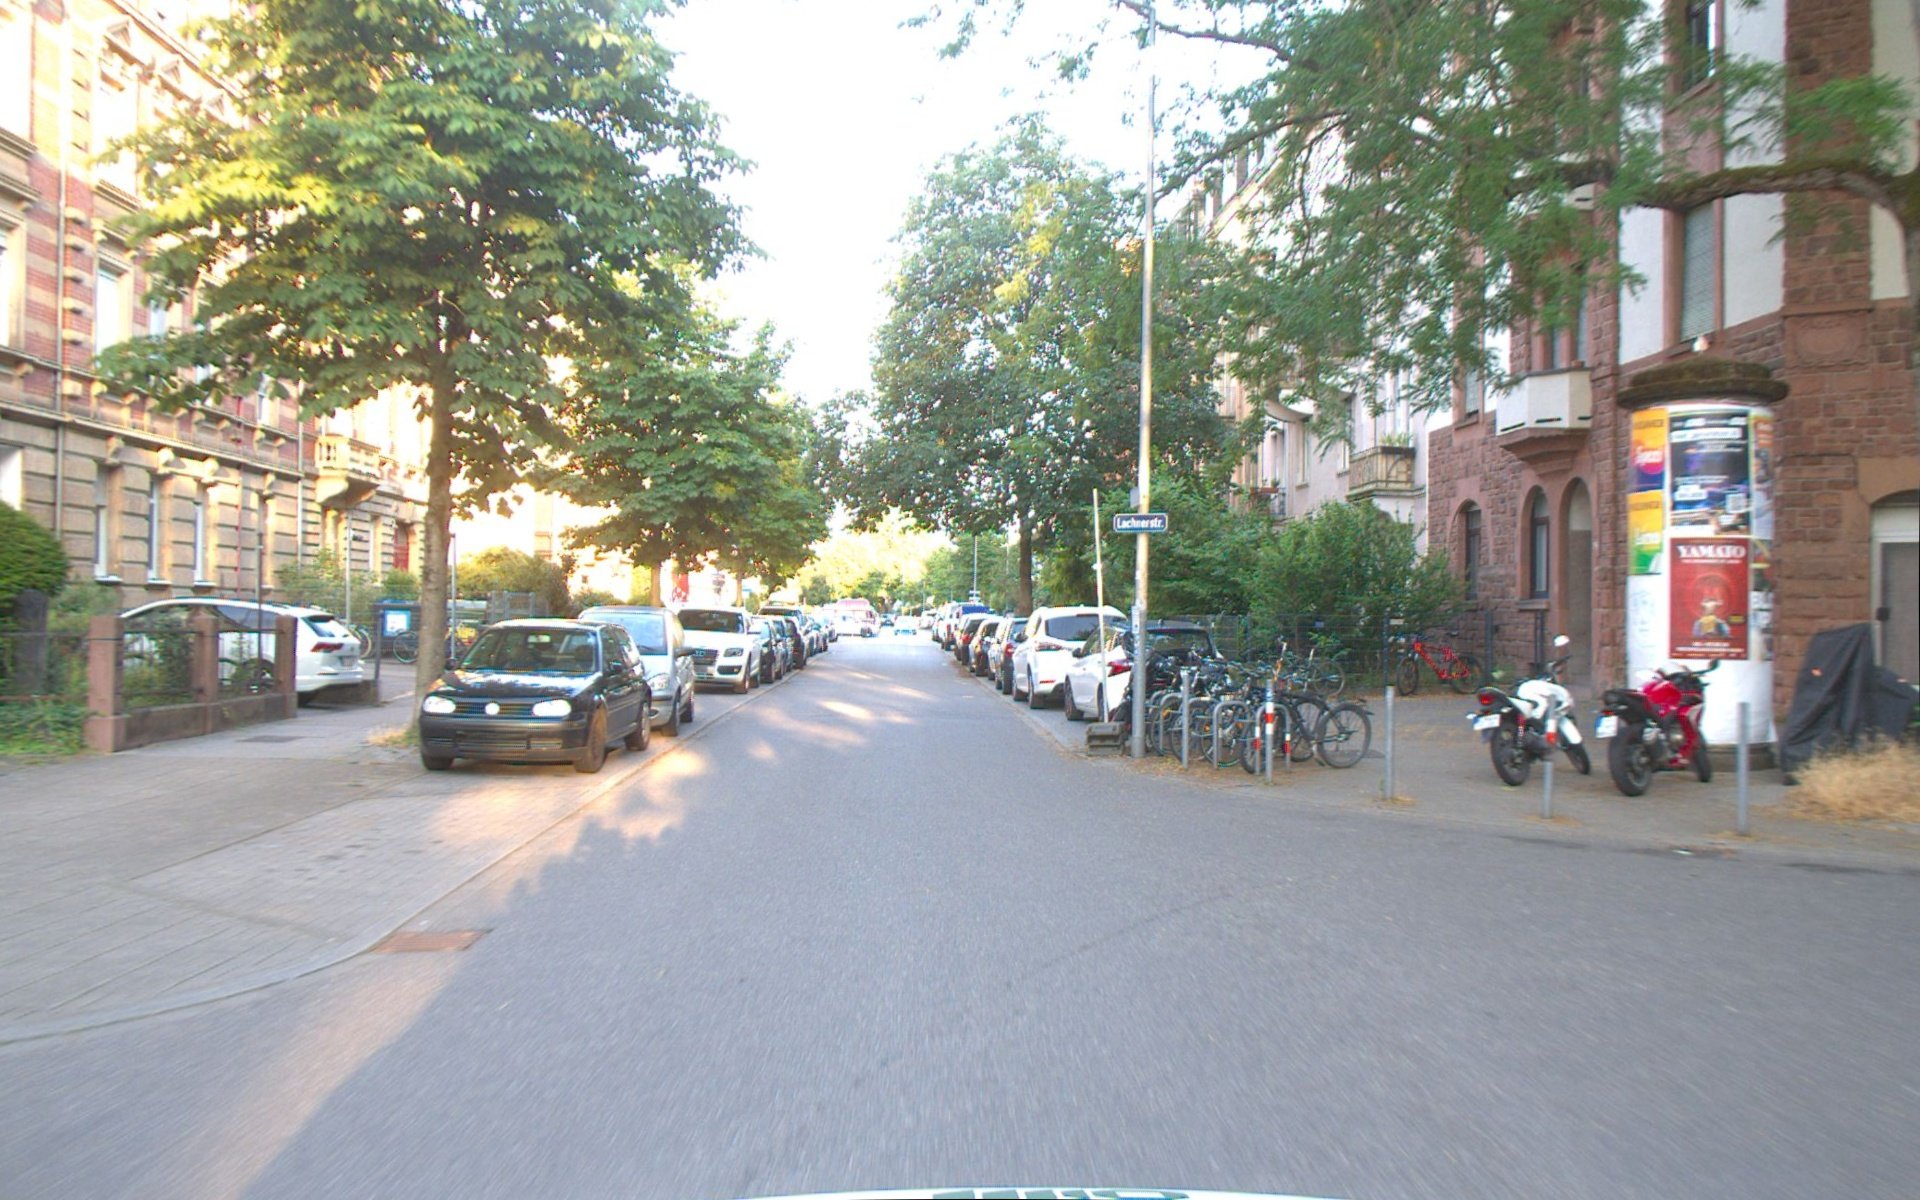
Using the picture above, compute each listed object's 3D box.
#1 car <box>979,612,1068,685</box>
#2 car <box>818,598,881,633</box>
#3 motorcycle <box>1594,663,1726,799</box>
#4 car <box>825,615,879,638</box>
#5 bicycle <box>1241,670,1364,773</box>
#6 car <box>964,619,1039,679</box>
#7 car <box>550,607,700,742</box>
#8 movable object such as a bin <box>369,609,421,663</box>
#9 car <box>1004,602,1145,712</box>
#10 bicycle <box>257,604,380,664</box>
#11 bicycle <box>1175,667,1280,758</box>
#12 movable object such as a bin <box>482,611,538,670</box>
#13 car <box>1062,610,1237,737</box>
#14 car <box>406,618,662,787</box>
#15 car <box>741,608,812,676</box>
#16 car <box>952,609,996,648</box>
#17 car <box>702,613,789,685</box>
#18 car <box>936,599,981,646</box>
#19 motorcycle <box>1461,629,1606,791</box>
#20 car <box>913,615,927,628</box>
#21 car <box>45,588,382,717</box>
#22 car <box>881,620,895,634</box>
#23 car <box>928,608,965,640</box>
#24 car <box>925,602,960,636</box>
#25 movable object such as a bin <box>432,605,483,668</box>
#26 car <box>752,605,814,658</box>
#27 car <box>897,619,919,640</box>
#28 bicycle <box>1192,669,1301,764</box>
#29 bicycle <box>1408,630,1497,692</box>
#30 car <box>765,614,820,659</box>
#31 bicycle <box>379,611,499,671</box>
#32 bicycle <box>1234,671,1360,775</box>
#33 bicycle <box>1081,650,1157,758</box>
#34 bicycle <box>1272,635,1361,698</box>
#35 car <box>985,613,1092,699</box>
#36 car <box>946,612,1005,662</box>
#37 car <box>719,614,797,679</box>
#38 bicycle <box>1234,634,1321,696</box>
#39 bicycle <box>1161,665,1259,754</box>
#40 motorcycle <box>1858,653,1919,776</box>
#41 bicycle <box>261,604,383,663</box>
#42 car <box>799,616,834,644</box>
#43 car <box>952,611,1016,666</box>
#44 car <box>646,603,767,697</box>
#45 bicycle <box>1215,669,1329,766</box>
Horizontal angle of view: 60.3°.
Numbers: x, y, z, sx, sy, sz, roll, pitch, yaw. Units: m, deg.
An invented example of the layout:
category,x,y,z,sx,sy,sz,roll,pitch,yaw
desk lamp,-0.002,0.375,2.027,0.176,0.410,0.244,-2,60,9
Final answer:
category,x,y,z,sx,sy,sz,roll,pitch,yaw
car,1.452,1.122,39.104,1.654,1.634,3.744,1,-1,-5
car,-7.639,1.043,114.255,4.264,2.359,1.744,1,0,-4
motorcycle,6.580,1.190,15.483,0.430,1.098,2.199,0,1,42
car,-7.288,1.786,111.701,3.549,1.487,1.604,1,0,-6
bicycle,3.546,1.249,17.135,1.200,1.005,0.330,-1,1,-6
car,1.054,1.264,43.846,1.653,1.466,4.207,-1,-1,-3
car,-4.387,0.921,22.092,1.564,1.631,3.740,1,0,-6
movable object such as a bin,-13.636,0.859,39.942,1.079,1.230,1.001,3,0,-16
car,1.888,0.937,28.635,1.763,1.741,4.596,0,-1,-5
bicycle,-14.574,0.780,37.622,2.485,1.213,0.641,3,0,-13
bicycle,3.039,1.267,18.771,1.208,0.964,0.328,0,0,-25
movable object such as a bin,-10.850,0.960,39.918,0.992,1.344,1.005,3,0,2
car,2.546,0.955,23.020,1.654,1.620,3.654,0,0,-6
car,-4.259,0.963,17.136,1.583,1.496,3.961,1,0,0
car,-5.174,1.156,47.047,1.681,1.821,4.213,1,0,-2
car,0.567,1.162,68.480,1.508,1.548,3.428,1,-1,-5
car,-4.989,1.129,38.843,1.681,1.594,3.779,1,-1,-2
car,-0.076,0.981,72.230,1.647,1.975,3.876,1,-1,-5
motorcycle,5.683,1.037,16.319,0.575,1.433,2.200,0,1,41
car,-5.100,2.732,211.136,1.681,1.624,3.481,1,0,-2
car,-10.741,0.743,24.018,4.012,1.554,1.708,4,-1,-4
car,-8.637,3.199,198.312,1.681,1.624,3.481,1,0,-2
car,-0.727,1.251,86.887,1.654,1.634,3.935,1,-1,-5
car,-0.989,1.073,92.785,1.654,1.843,3.935,1,-1,-5
movable object such as a bin,-12.052,0.865,39.699,1.079,1.439,1.001,3,0,-16
car,-5.747,1.010,54.084,1.681,1.624,4.516,1,-1,-2
car,-4.253,2.406,135.334,1.777,1.624,3.481,1,0,-2
bicycle,3.135,1.264,18.075,1.208,0.974,0.328,0,0,-25
bicycle,8.702,1.066,29.223,1.479,1.052,0.330,-1,0,-5
car,-5.938,1.272,58.902,1.681,1.490,3.985,1,0,-2
bicycle,-11.780,0.916,37.428,2.476,1.212,0.644,3,0,3
bicycle,3.415,1.239,16.773,1.200,1.004,0.330,-1,0,-5
bicycle,1.897,1.203,19.559,0.434,1.193,1.636,0,-1,22
bicycle,6.231,1.161,28.898,1.479,1.052,0.330,-1,0,-5
car,1.545,1.111,33.840,1.654,1.634,4.205,1,-1,-5
car,0.497,1.238,56.325,1.654,1.634,3.935,1,-1,-5
car,-5.219,1.167,43.083,1.681,1.594,3.786,1,0,-2
bicycle,5.648,1.153,29.442,1.479,1.052,0.330,-1,0,-5
bicycle,2.936,1.272,19.380,1.211,0.968,0.327,0,1,-30
motorcycle,9.632,1.127,16.779,0.430,1.098,2.097,0,1,42
bicycle,-14.689,0.774,38.131,2.485,1.213,0.641,3,0,-13
car,-7.879,1.668,91.300,1.681,1.512,3.629,1,-2,-1
car,0.717,1.195,51.926,1.654,1.634,3.935,1,-1,-5
car,-4.989,0.943,33.150,1.883,1.747,4.425,1,0,-2
bicycle,3.338,1.242,17.690,1.205,0.980,0.328,0,0,-20
